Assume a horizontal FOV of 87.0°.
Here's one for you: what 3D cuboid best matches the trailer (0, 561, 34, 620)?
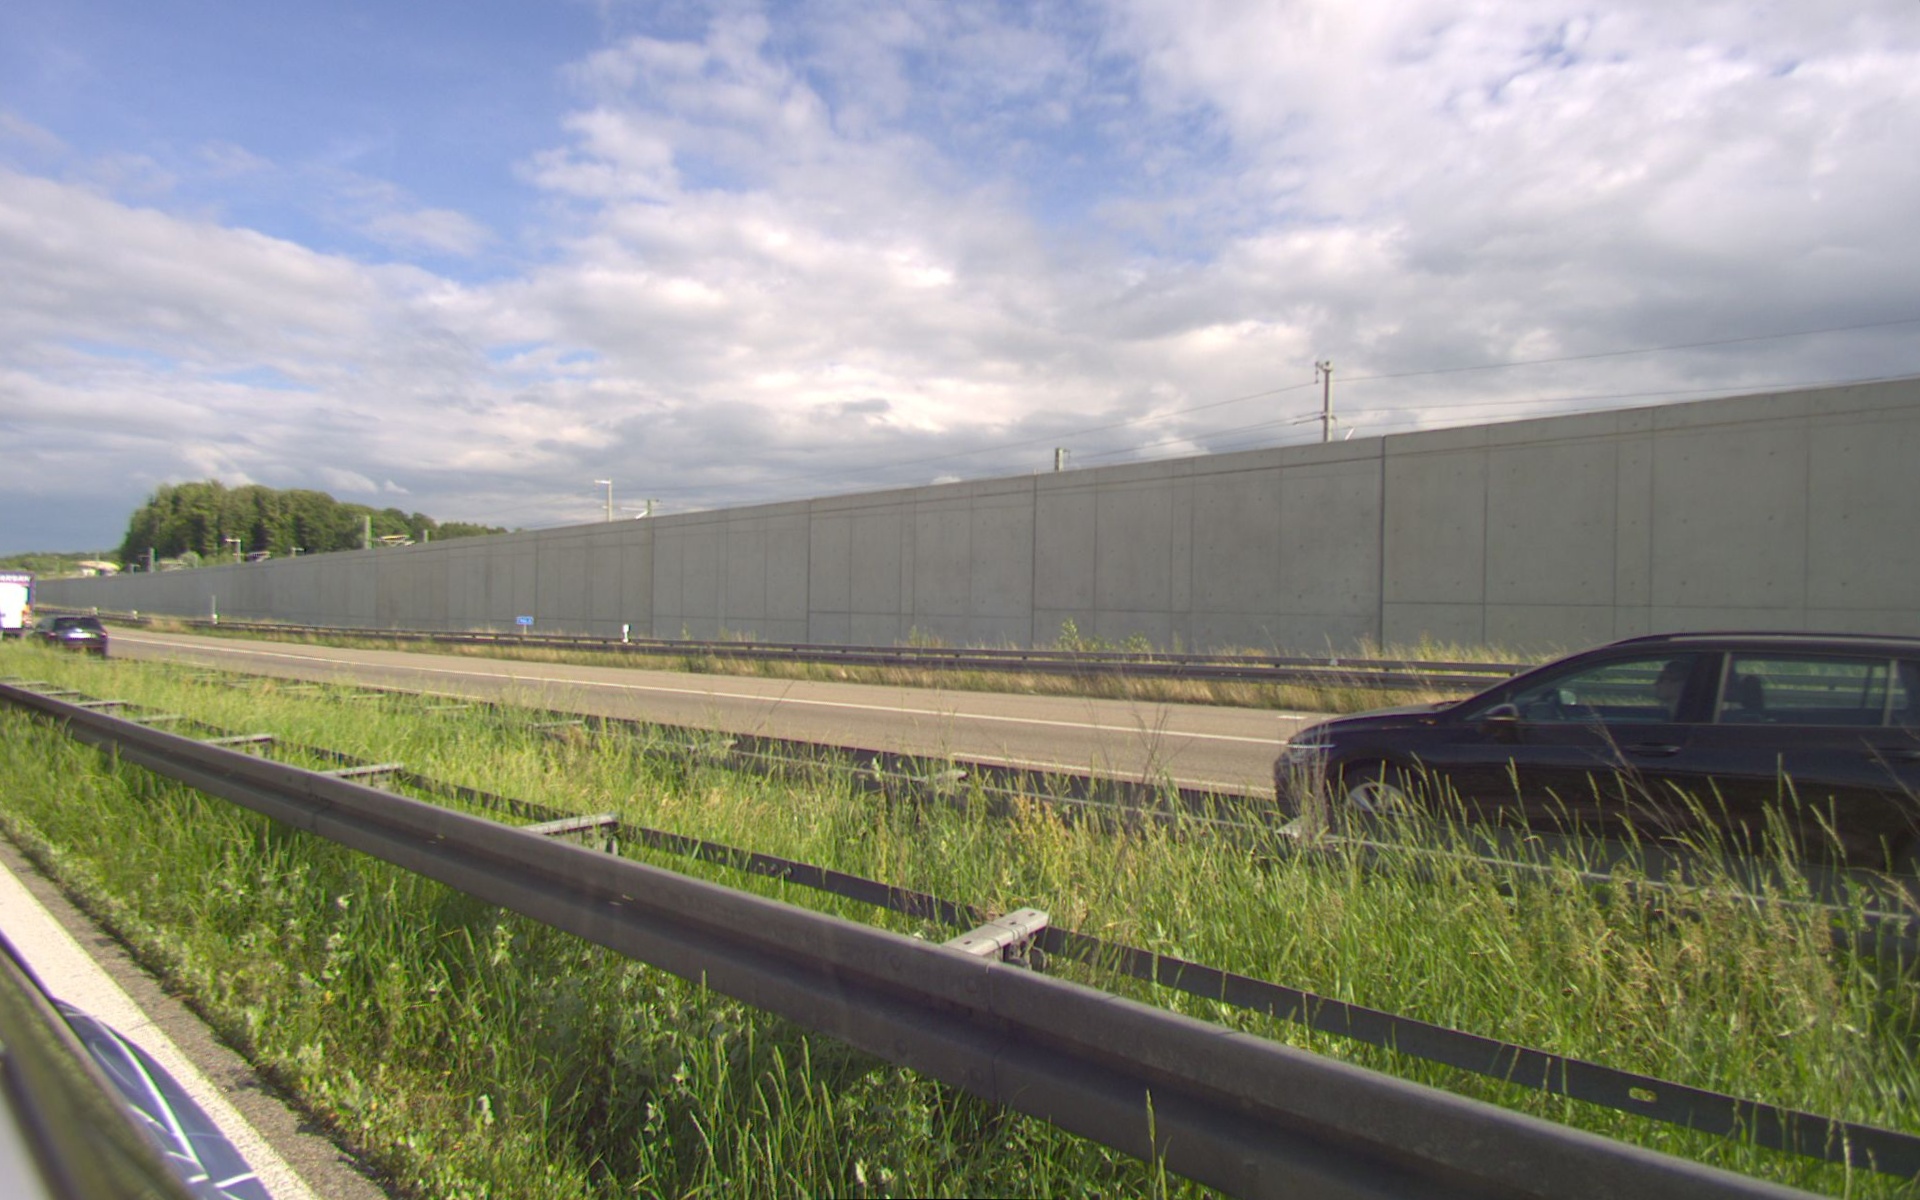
[{"bbox_3d":[-71.221,-0.644,74.622,12.385,4.111,2.627,-1,0,39],"label":"trailer"}]

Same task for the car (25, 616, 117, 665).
[{"bbox_3d":[-30.497,1.347,34.658,4.549,1.519,1.824,-1,0,42],"label":"car"}]

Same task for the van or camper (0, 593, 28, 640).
[{"bbox_3d":[-47.479,0.799,49.157,6.247,2.222,2.147,-1,0,37],"label":"van or camper"}]

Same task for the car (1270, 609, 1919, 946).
[{"bbox_3d":[4.308,0.817,5.872,4.393,1.497,1.974,-1,0,39],"label":"car"}]
